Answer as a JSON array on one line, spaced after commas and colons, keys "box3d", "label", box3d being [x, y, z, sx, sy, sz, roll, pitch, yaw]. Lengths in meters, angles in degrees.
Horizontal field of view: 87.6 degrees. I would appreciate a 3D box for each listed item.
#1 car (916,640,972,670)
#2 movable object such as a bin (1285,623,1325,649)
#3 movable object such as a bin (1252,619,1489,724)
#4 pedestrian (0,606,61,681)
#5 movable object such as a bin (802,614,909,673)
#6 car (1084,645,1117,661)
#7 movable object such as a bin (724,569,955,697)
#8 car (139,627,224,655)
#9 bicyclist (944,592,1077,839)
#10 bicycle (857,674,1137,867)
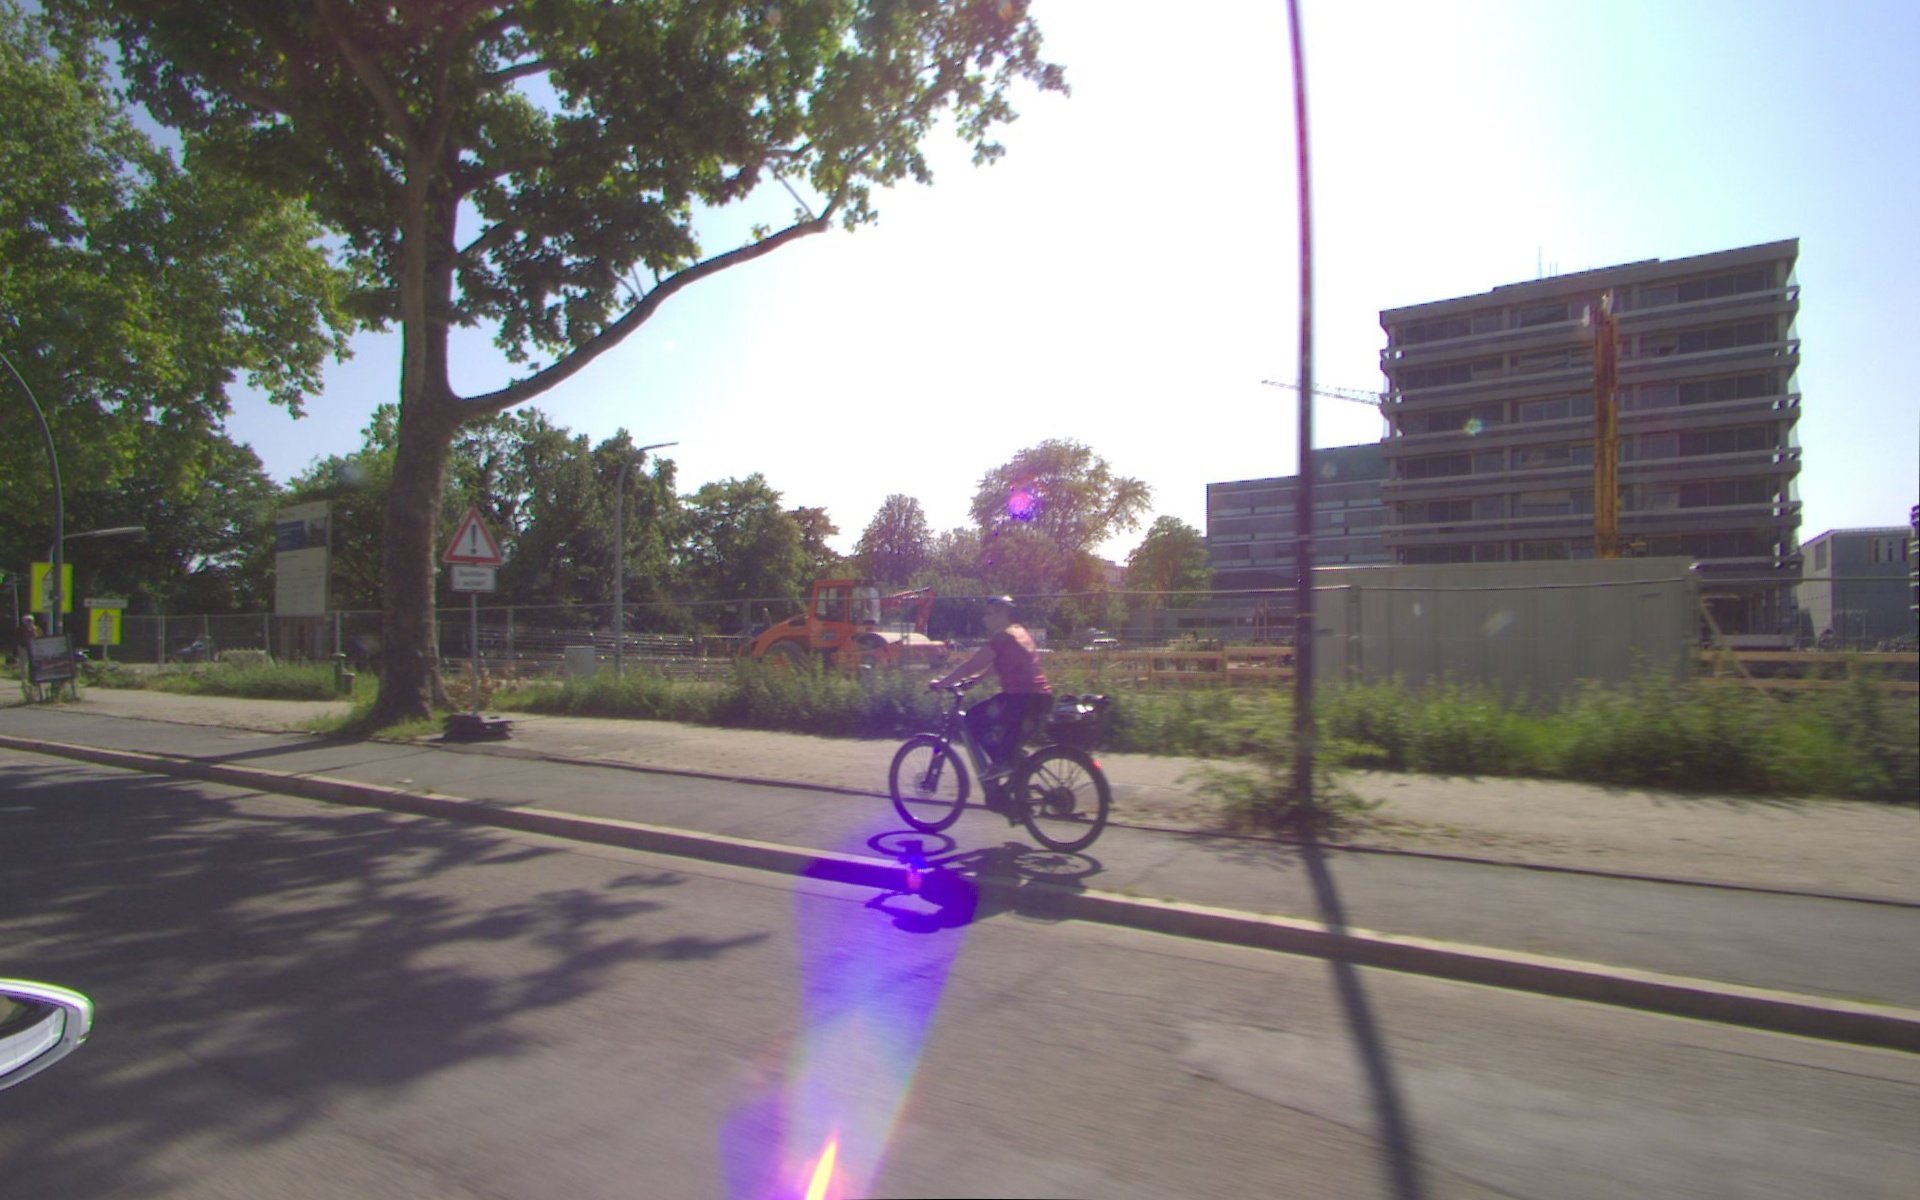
[{"box3d": [-0.955, 3.340, 61.352, 1.787, 1.788, 3.508, -1, -3, 32], "label": "car"}, {"box3d": [28.394, 2.963, 82.384, 2.629, 2.039, 2.747, -1, -2, 31], "label": "movable object such as a bin"}, {"box3d": [22.664, 3.878, 56.683, 6.636, 5.241, 11.764, 1, -2, -15], "label": "movable object such as a bin"}, {"box3d": [-24.485, 1.140, 26.336, 1.135, 1.916, 0.937, 0, -2, 33], "label": "pedestrian"}, {"box3d": [-5.580, 2.367, 54.231, 3.247, 3.013, 5.168, -1, -3, 32], "label": "movable object such as a bin"}, {"box3d": [10.928, 4.101, 77.654, 1.432, 1.268, 3.106, -1, -3, 32], "label": "car"}, {"box3d": [-3.282, 0.878, 26.864, 5.895, 3.110, 2.368, -1, -2, 30], "label": "movable object such as a bin"}, {"box3d": [-43.108, 2.270, 55.556, 1.651, 1.472, 4.002, 0, -2, -2], "label": "car"}, {"box3d": [0.359, 0.764, 7.024, 0.721, 1.621, 0.619, 0, 1, 30], "label": "bicyclist"}, {"box3d": [0.230, 1.135, 7.109, 1.917, 1.144, 0.650, -1, 0, 32], "label": "bicycle"}]
